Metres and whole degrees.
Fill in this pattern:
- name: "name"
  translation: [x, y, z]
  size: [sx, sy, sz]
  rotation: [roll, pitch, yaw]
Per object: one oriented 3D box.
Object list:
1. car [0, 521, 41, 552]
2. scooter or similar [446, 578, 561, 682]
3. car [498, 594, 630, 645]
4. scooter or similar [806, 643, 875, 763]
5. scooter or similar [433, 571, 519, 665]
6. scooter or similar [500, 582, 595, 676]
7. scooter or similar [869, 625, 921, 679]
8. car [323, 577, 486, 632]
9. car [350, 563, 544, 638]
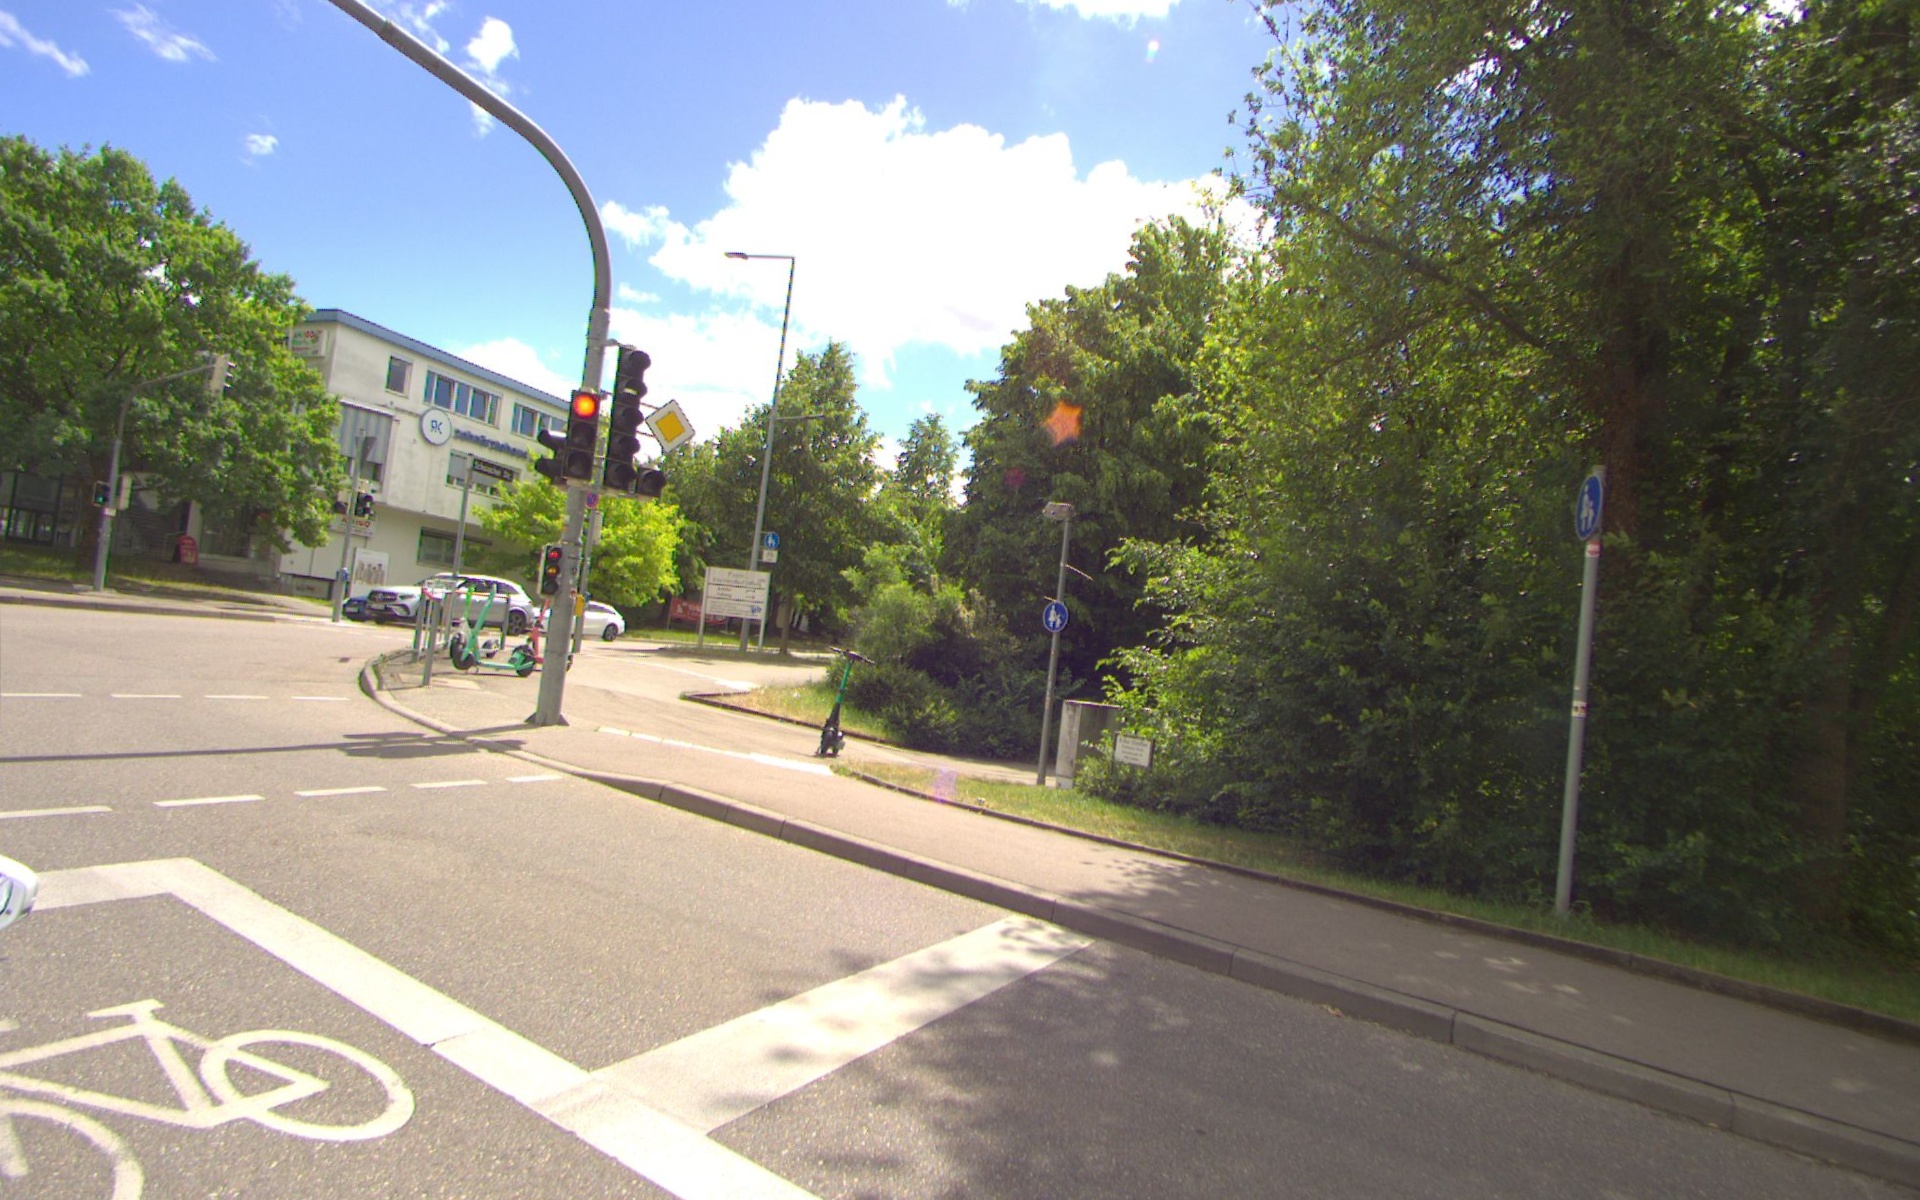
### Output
- name: "car"
  translation: [-54.428, -3.725, 57.291]
  size: [3.931, 1.487, 1.748]
  rotation: [6, -2, 29]
- name: "scooter or similar"
  translation: [-5.887, 0.407, 13.014]
  size: [0.442, 1.209, 1.169]
  rotation: [6, -2, 35]
- name: "car"
  translation: [-14.366, 0.740, 36.760]
  size: [1.916, 1.430, 4.407]
  rotation: [4, -3, 21]
- name: "scooter or similar"
  translation: [-1.430, 1.239, 12.230]
  size: [0.526, 1.304, 1.213]
  rotation: [11, -5, -2]
- name: "scooter or similar"
  translation: [-7.021, 0.280, 14.642]
  size: [0.470, 1.249, 1.212]
  rotation: [7, -1, 3]
- name: "scooter or similar"
  translation: [-5.940, 0.440, 14.548]
  size: [0.471, 1.249, 1.186]
  rotation: [7, -2, 18]
- name: "scooter or similar"
  translation: [-1.566, 1.269, 24.529]
  size: [0.515, 1.196, 1.173]
  rotation: [6, -2, 35]
- name: "car"
  translation: [-16.850, 0.174, 30.712]
  size: [1.879, 1.239, 3.973]
  rotation: [4, -3, 23]
- name: "car"
  translation: [-14.275, 0.081, 28.329]
  size: [1.889, 1.609, 4.658]
  rotation: [4, -3, 23]
